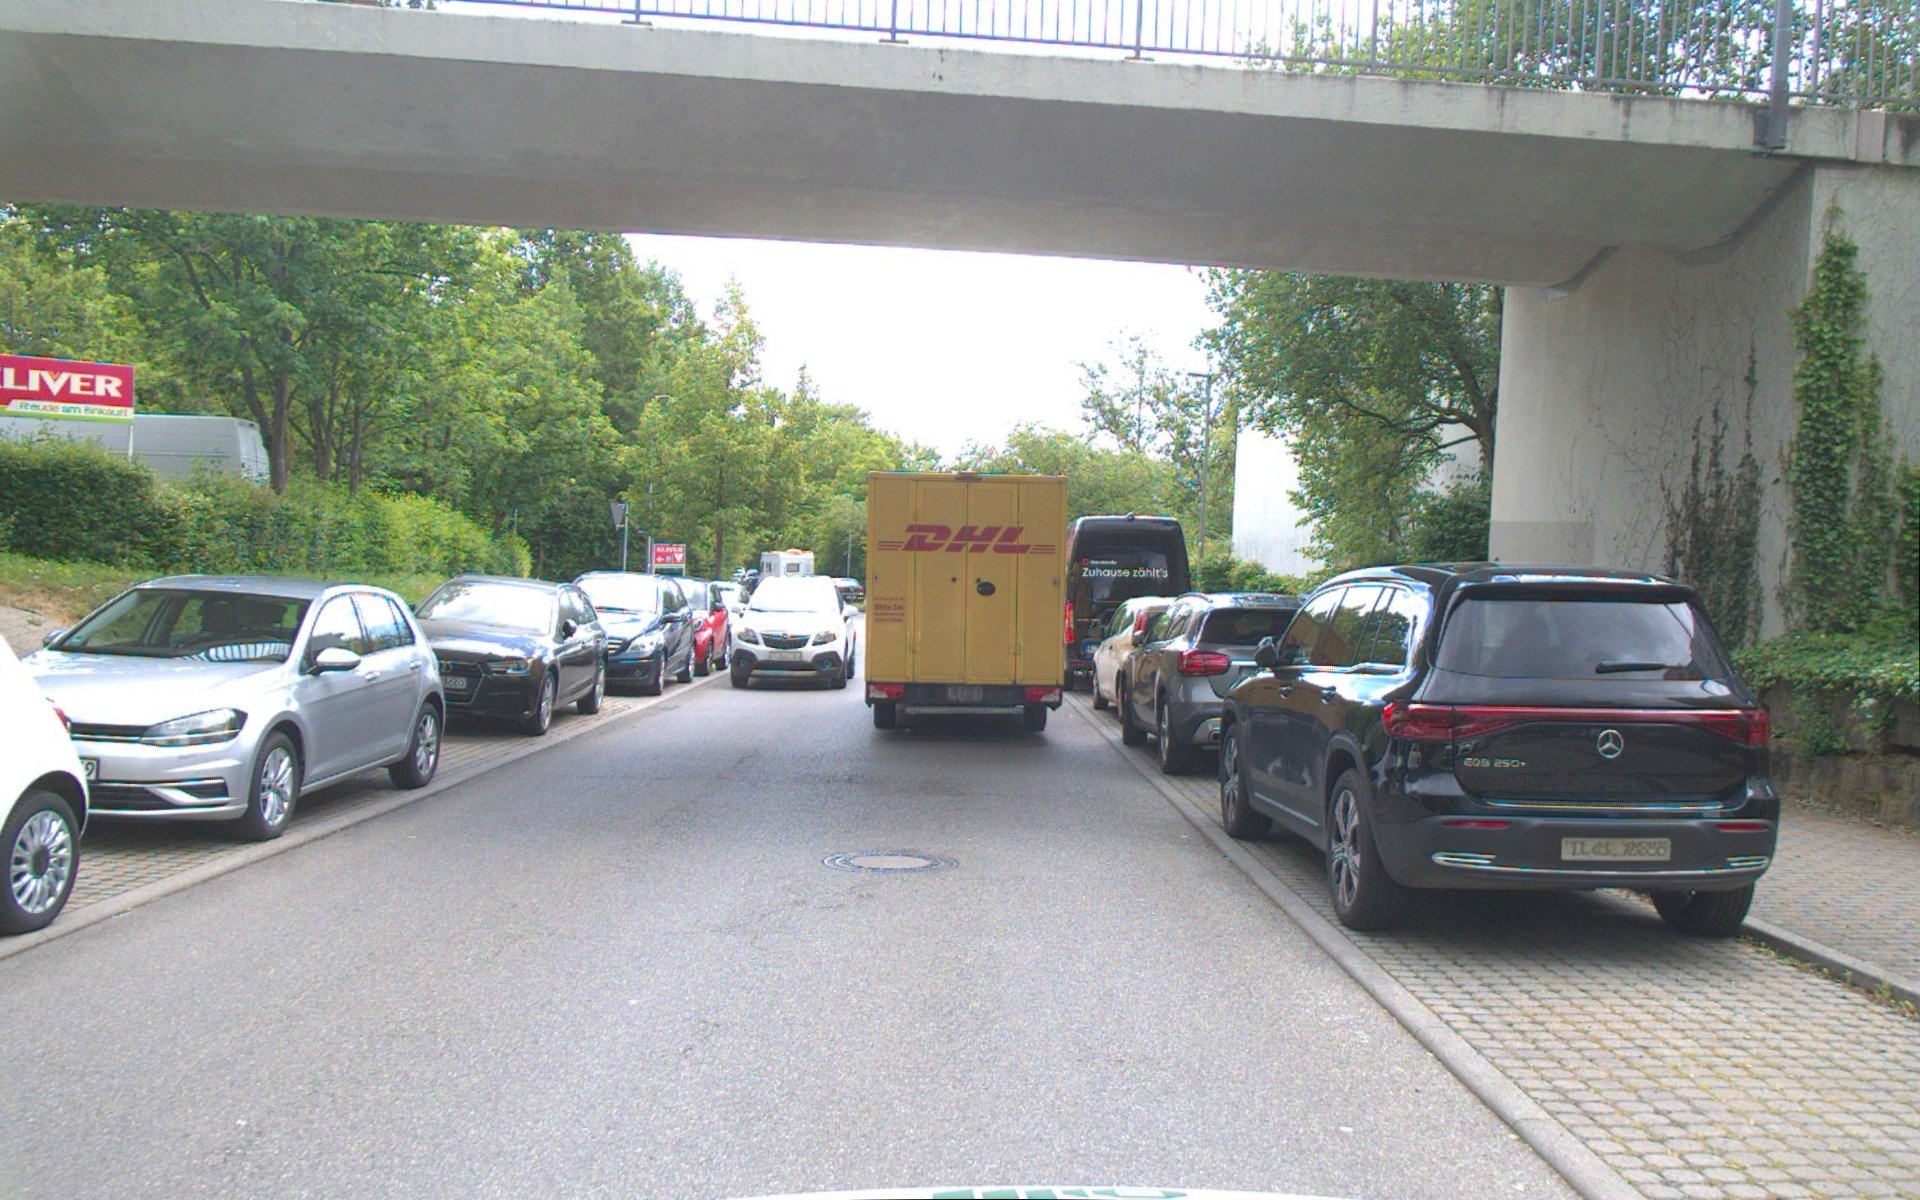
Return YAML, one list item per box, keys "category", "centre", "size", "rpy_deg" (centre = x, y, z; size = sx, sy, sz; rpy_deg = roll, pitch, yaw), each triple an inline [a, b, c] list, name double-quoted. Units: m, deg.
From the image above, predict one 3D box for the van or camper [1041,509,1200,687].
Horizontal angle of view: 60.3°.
- category: "van or camper"
  centre: [2.447, -0.039, 26.581]
  size: [1.953, 2.567, 5.470]
  rpy_deg: [0, 0, -1]

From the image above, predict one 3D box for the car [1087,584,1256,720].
- category: "car"
  centre: [2.546, 0.584, 20.565]
  size: [1.531, 1.522, 3.330]
  rpy_deg: [1, 1, -2]

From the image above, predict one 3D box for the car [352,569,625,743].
- category: "car"
  centre: [-4.808, 0.492, 17.528]
  size: [1.847, 1.535, 4.449]
  rpy_deg: [2, 1, -4]

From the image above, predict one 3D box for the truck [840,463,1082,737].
- category: "truck"
  centre: [-0.083, -0.040, 20.017]
  size: [2.416, 2.749, 6.822]
  rpy_deg: [0, 1, -2]

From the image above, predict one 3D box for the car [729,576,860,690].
- category: "car"
  centre: [-2.547, 0.453, 26.253]
  size: [1.712, 1.639, 4.052]
  rpy_deg: [1, 1, -1]

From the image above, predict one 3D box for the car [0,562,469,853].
- category: "car"
  centre: [-4.701, 0.542, 10.586]
  size: [1.846, 1.452, 4.000]
  rpy_deg: [2, 0, 0]

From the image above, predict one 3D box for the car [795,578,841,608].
- category: "car"
  centre: [-8.224, -0.422, 95.526]
  size: [1.814, 1.556, 3.982]
  rpy_deg: [2, 2, -17]

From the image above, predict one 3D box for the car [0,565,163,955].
- category: "car"
  centre: [-4.599, 0.575, 5.731]
  size: [1.846, 1.485, 3.546]
  rpy_deg: [4, 0, 0]

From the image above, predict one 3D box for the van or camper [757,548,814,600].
- category: "van or camper"
  centre: [-10.800, -1.661, 102.085]
  size: [2.290, 2.921, 5.231]
  rpy_deg: [-2, 4, -20]

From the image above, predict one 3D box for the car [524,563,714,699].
- category: "car"
  centre: [-4.760, 0.391, 23.630]
  size: [1.847, 1.585, 3.837]
  rpy_deg: [6, 0, -2]

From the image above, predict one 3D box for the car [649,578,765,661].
- category: "car"
  centre: [-4.921, 0.334, 32.618]
  size: [1.640, 1.461, 3.969]
  rpy_deg: [2, 1, -1]

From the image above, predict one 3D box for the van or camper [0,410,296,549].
- category: "van or camper"
  centre: [-14.272, -2.053, 28.545]
  size: [4.760, 2.122, 1.998]
  rpy_deg: [2, 2, -6]

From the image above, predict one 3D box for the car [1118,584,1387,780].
- category: "car"
  centre: [2.527, 0.637, 15.226]
  size: [1.665, 1.522, 4.118]
  rpy_deg: [1, 0, -1]

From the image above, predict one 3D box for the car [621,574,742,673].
- category: "car"
  centre: [-4.665, 0.371, 28.026]
  size: [1.497, 1.532, 2.713]
  rpy_deg: [2, 1, 1]

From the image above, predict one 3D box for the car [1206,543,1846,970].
- category: "car"
  centre: [2.602, 0.591, 8.825]
  size: [1.777, 1.707, 4.369]
  rpy_deg: [0, 1, -2]

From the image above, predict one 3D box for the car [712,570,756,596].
- category: "car"
  centre: [-15.609, -1.168, 114.233]
  size: [1.821, 1.556, 3.968]
  rpy_deg: [2, 2, -26]
